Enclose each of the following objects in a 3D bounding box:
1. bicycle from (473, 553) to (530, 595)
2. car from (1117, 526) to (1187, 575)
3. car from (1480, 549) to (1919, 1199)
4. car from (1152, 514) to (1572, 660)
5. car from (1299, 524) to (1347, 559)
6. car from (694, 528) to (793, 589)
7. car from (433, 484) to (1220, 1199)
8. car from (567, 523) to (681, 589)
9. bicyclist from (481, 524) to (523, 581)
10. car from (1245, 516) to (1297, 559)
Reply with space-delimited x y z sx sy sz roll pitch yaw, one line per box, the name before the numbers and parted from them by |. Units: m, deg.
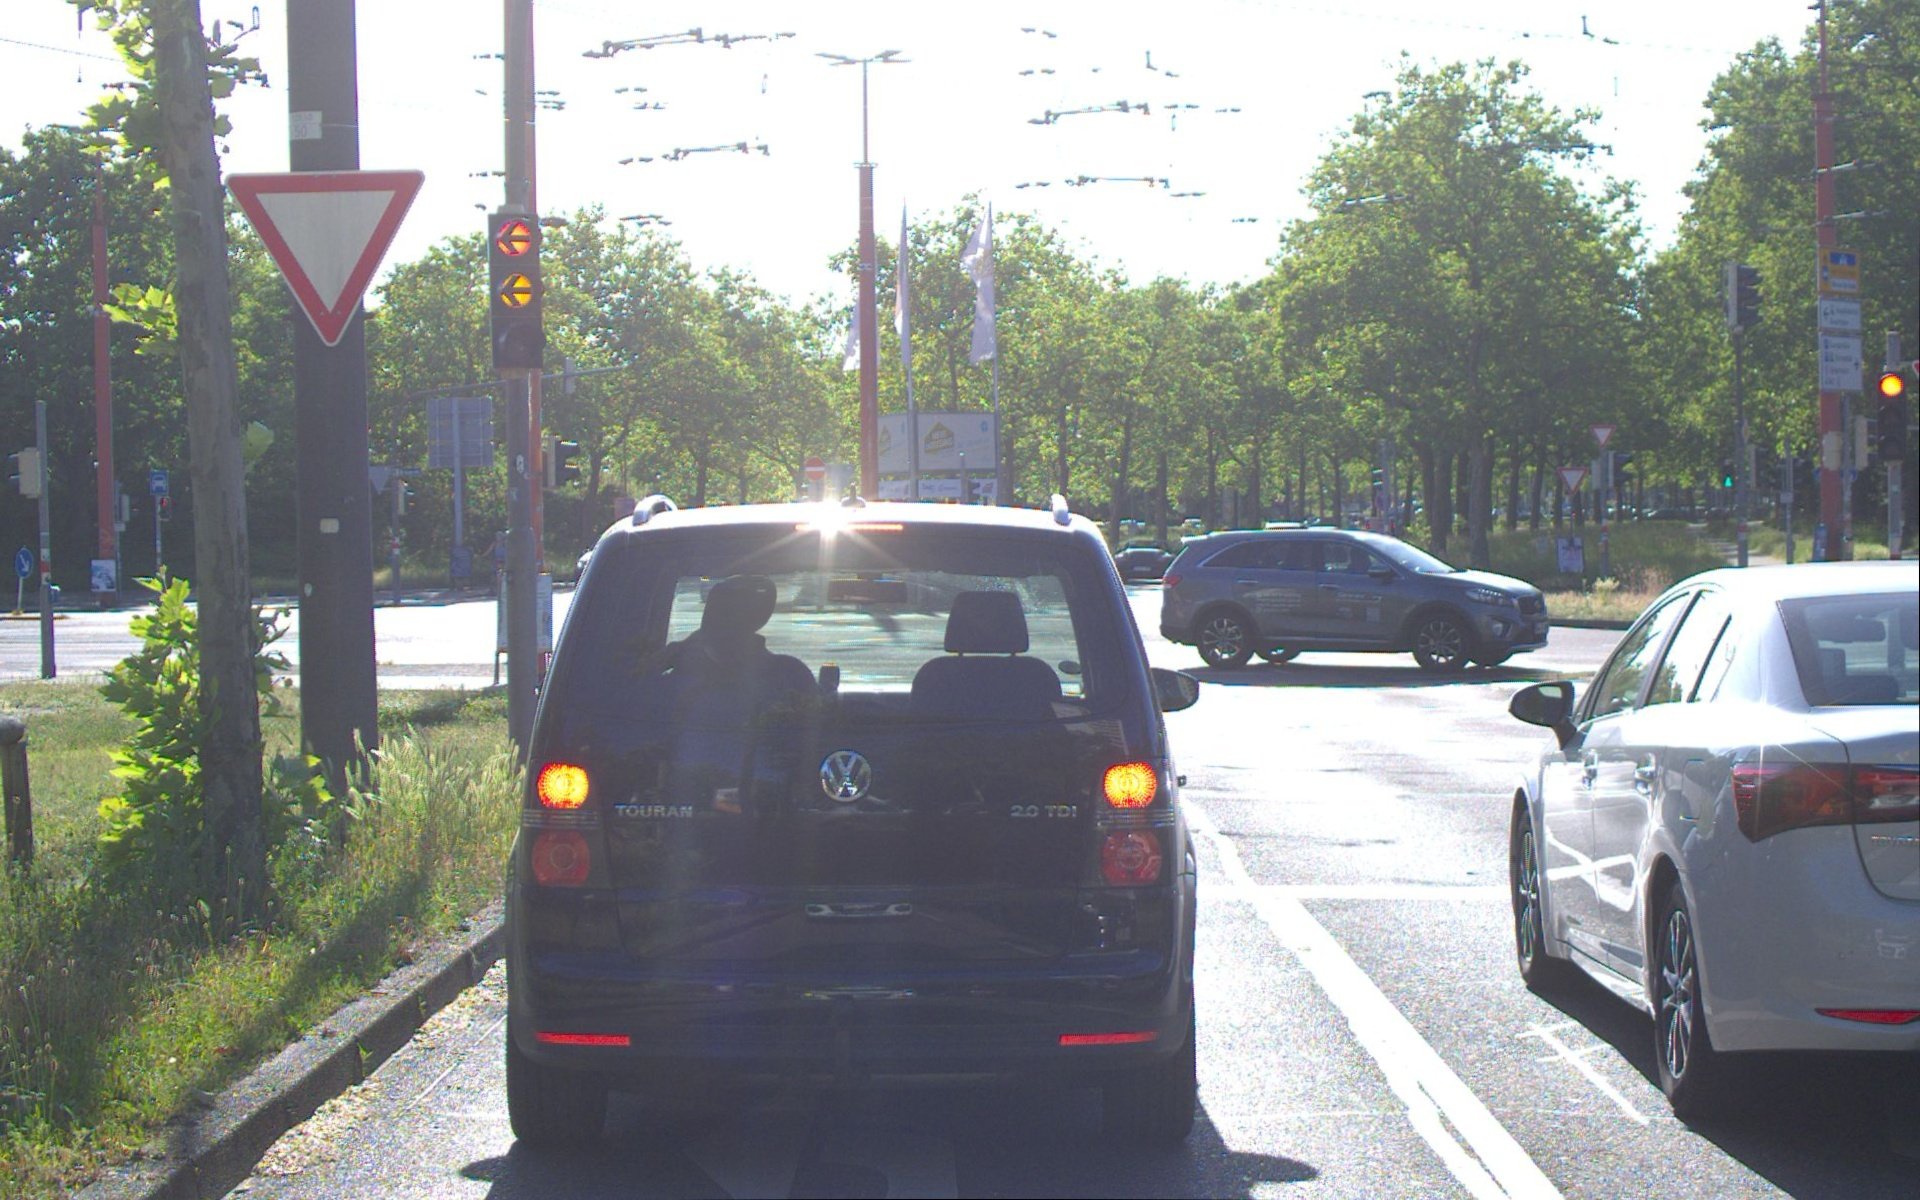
bicycle | -12.570 -0.721 94.247 0.764 1.087 2.014 -1 2 17
car | 5.758 -1.485 102.849 1.790 1.383 4.049 1 2 7
car | 2.703 0.607 10.055 1.767 1.459 4.366 0 1 1
car | 4.898 -0.167 41.981 4.684 1.698 1.997 0 1 27
car | 14.862 -2.400 140.886 1.790 1.383 4.049 0 2 4
car | -5.736 -1.121 91.409 1.768 1.533 4.090 0 1 9
car | -0.308 0.503 10.243 1.767 1.638 4.924 0 1 0
car | -9.105 -1.210 93.584 1.903 1.720 4.652 0 1 10
bicyclist | -12.561 -1.307 94.308 0.759 1.552 0.980 -1 2 17
car | 11.049 -2.241 122.302 1.790 1.497 4.049 0 2 4
